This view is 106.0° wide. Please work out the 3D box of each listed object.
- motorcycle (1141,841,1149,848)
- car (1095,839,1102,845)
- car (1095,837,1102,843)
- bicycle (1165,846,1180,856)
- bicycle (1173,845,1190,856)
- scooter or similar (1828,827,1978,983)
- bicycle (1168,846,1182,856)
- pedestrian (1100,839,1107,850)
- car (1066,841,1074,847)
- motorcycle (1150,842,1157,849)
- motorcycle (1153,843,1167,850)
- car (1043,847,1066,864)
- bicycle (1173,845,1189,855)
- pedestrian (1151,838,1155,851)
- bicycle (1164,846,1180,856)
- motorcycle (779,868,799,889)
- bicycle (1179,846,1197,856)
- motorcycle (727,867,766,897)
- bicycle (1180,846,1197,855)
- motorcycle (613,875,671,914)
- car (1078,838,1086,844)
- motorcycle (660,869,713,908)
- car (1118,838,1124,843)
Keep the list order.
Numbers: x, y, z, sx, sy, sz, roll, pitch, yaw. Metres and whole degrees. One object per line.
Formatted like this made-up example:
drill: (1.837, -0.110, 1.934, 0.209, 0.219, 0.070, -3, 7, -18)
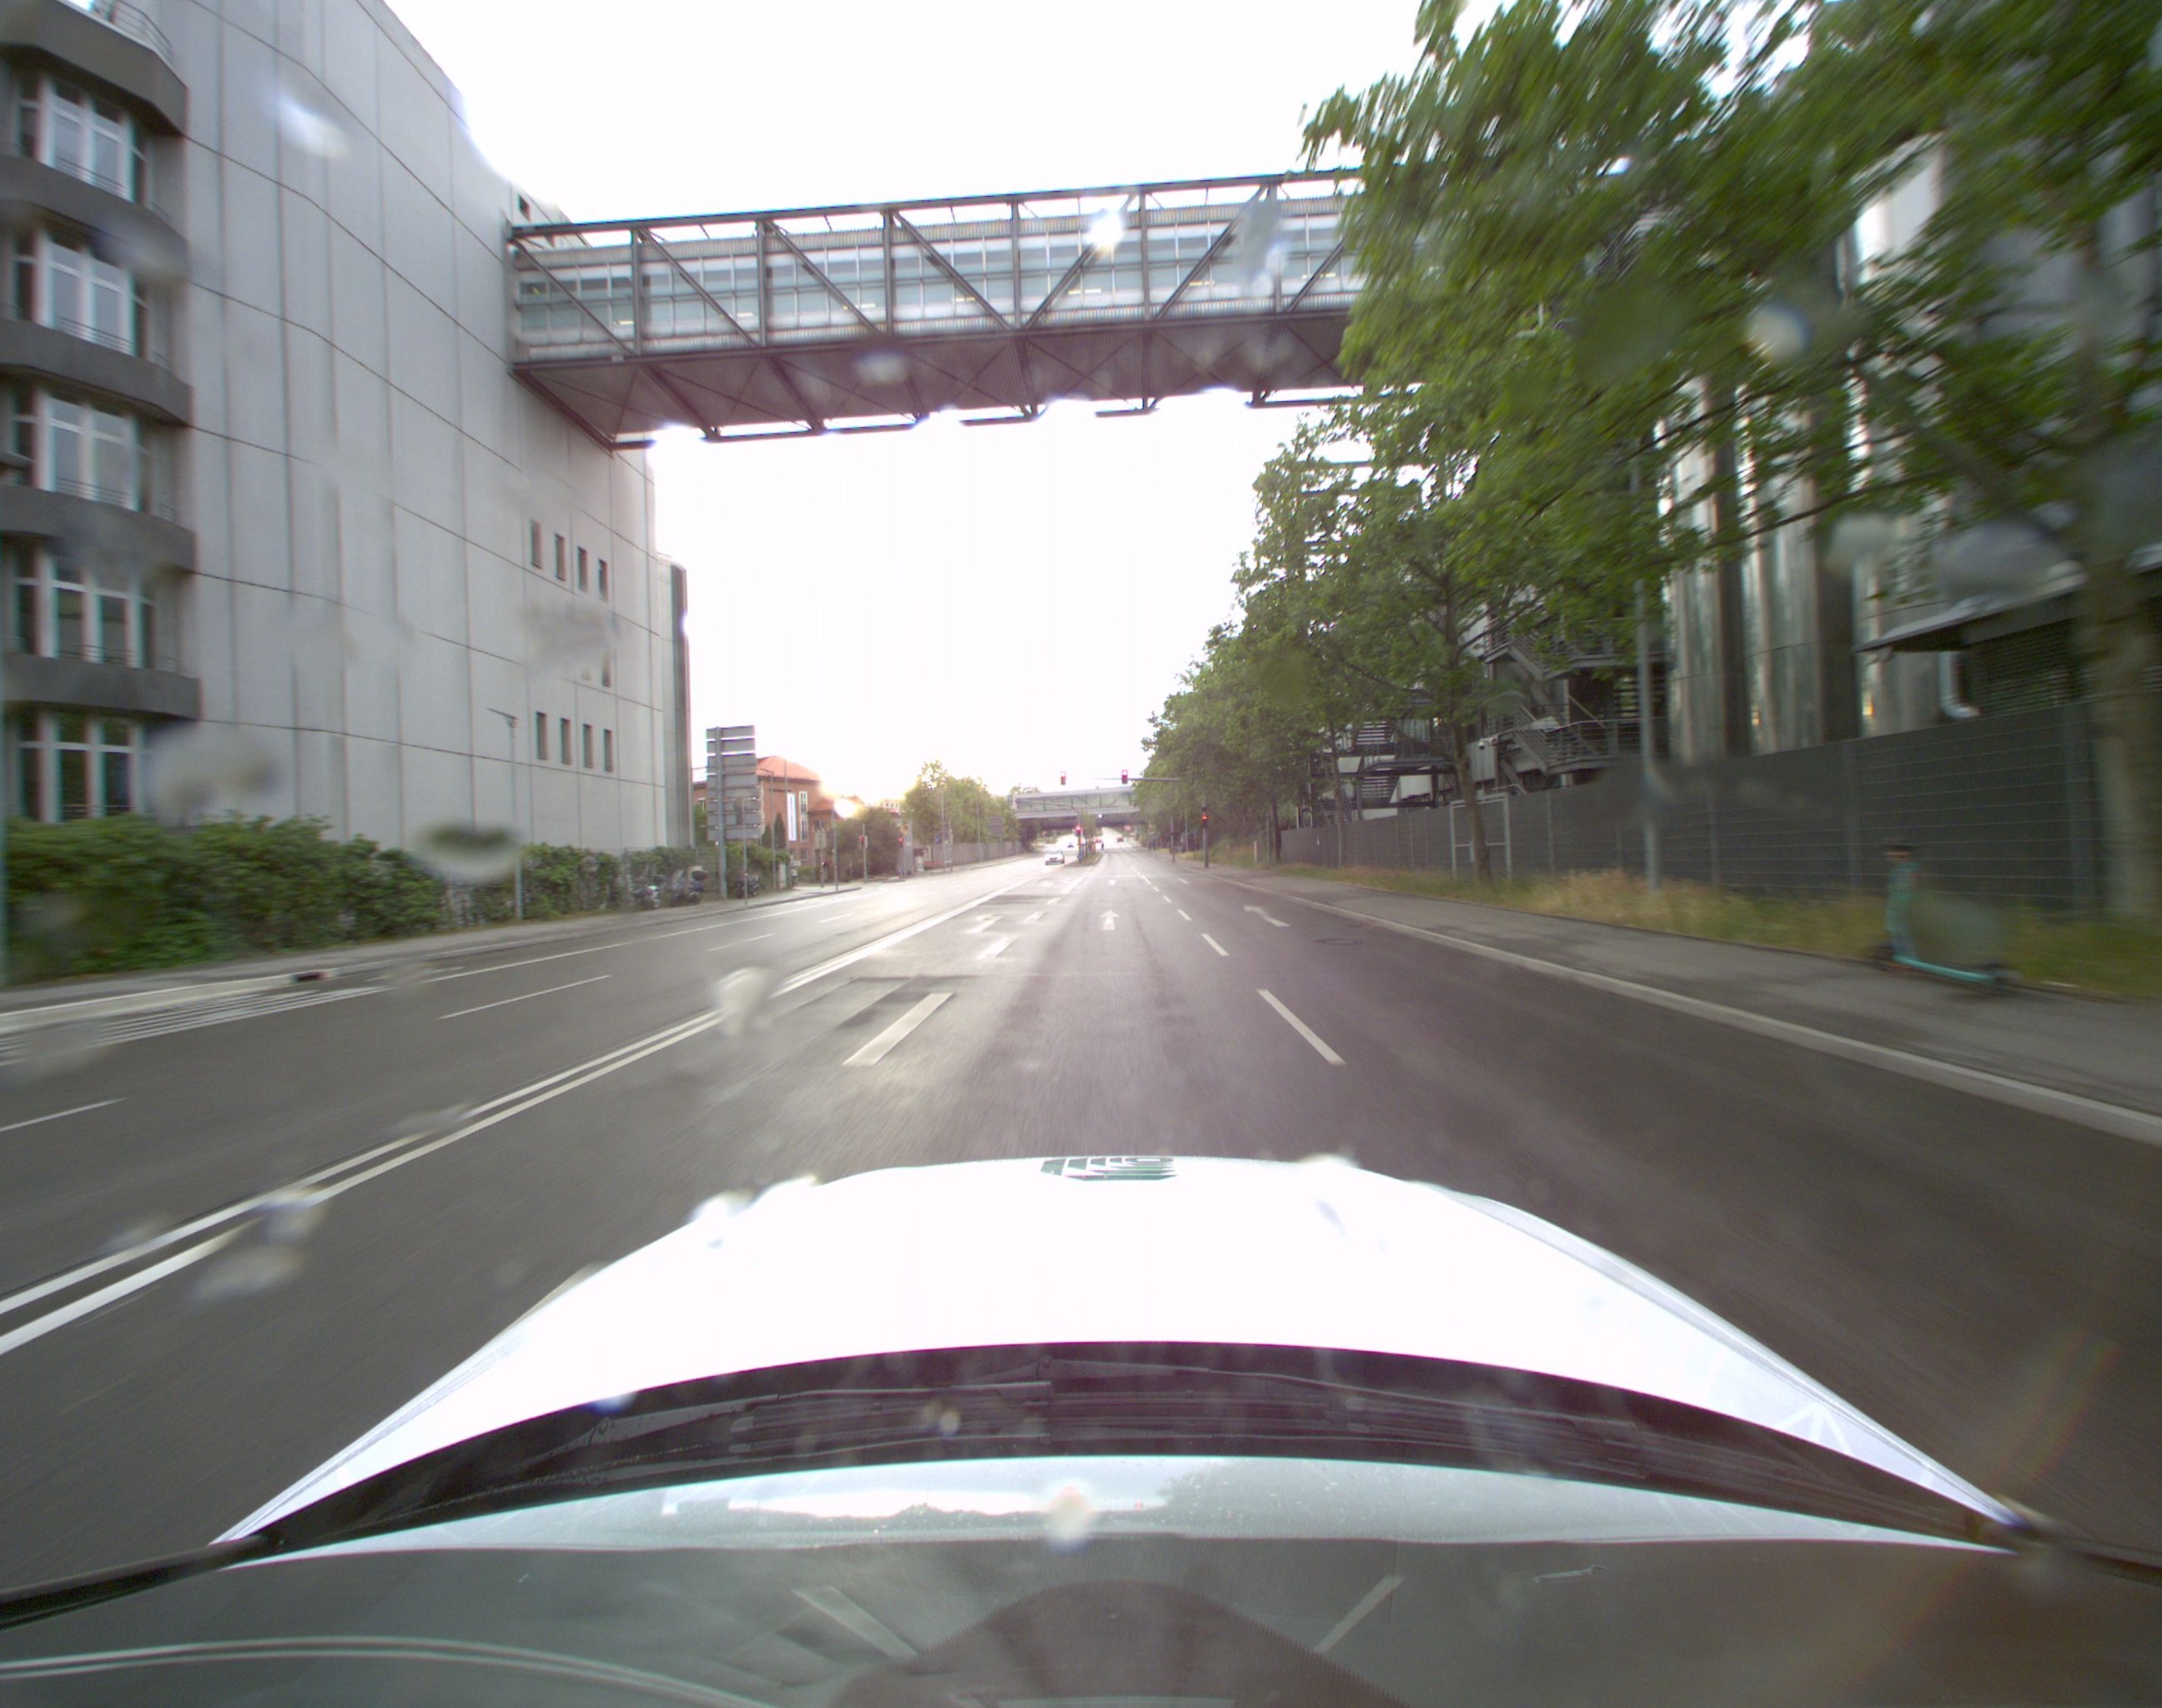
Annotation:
motorcycle: (13.218, -1.978, 167.290, 0.792, 1.311, 2.364, -3, 0, -15)
car: (5.226, -3.781, 249.106, 1.985, 1.762, 4.003, 0, -1, 3)
car: (5.450, -4.325, 253.842, 1.876, 1.762, 3.972, 0, -1, 3)
bicycle: (12.426, -0.351, 110.902, 1.982, 1.328, 0.577, 0, -1, 3)
bicycle: (12.027, -0.419, 97.660, 1.982, 1.216, 0.541, 0, -1, 3)
scooter or similar: (7.249, 0.420, 7.233, 0.326, 1.269, 1.112, -2, 0, 11)
bicycle: (12.717, -0.369, 110.178, 1.982, 1.328, 0.577, 0, -1, 3)
pedestrian: (4.483, -1.863, 162.043, 0.865, 2.004, 0.859, -3, 0, 20)
car: (-2.859, -2.581, 214.628, 1.870, 1.624, 3.781, -3, 0, 3)
motorcycle: (14.420, -1.679, 162.212, 0.789, 1.311, 2.372, -3, 0, -6)
motorcycle: (13.924, -1.323, 143.314, 2.354, 1.202, 0.724, -3, 0, 10)
car: (-2.643, 0.107, 82.256, 1.870, 1.624, 3.781, -3, 0, 3)
bicycle: (12.268, -0.482, 99.843, 1.982, 1.233, 0.541, 0, -1, 3)
pedestrian: (12.013, -1.569, 135.475, 0.619, 2.013, 0.606, -3, 0, 3)
bicycle: (12.022, -0.378, 107.672, 1.982, 1.328, 0.577, 0, -1, 3)
motorcycle: (-17.440, 1.447, 48.578, 0.774, 1.218, 2.487, -2, 0, -27)
bicycle: (12.636, -0.372, 96.173, 1.982, 1.094, 0.541, 0, -1, 3)
motorcycle: (-15.232, 1.245, 37.126, 0.782, 1.247, 2.158, -3, 0, 2)
bicycle: (12.607, -0.377, 95.604, 1.982, 1.094, 0.541, 0, -1, 3)
motorcycle: (-15.511, 1.408, 28.855, 0.782, 1.250, 2.158, -3, 0, 2)
car: (0.269, -3.790, 238.807, 1.870, 1.624, 3.781, -3, 0, 3)
motorcycle: (-15.255, 1.313, 31.555, 0.782, 1.347, 2.371, -3, 0, 2)
car: (11.948, -4.058, 244.988, 1.867, 1.497, 4.071, 0, -1, 3)
